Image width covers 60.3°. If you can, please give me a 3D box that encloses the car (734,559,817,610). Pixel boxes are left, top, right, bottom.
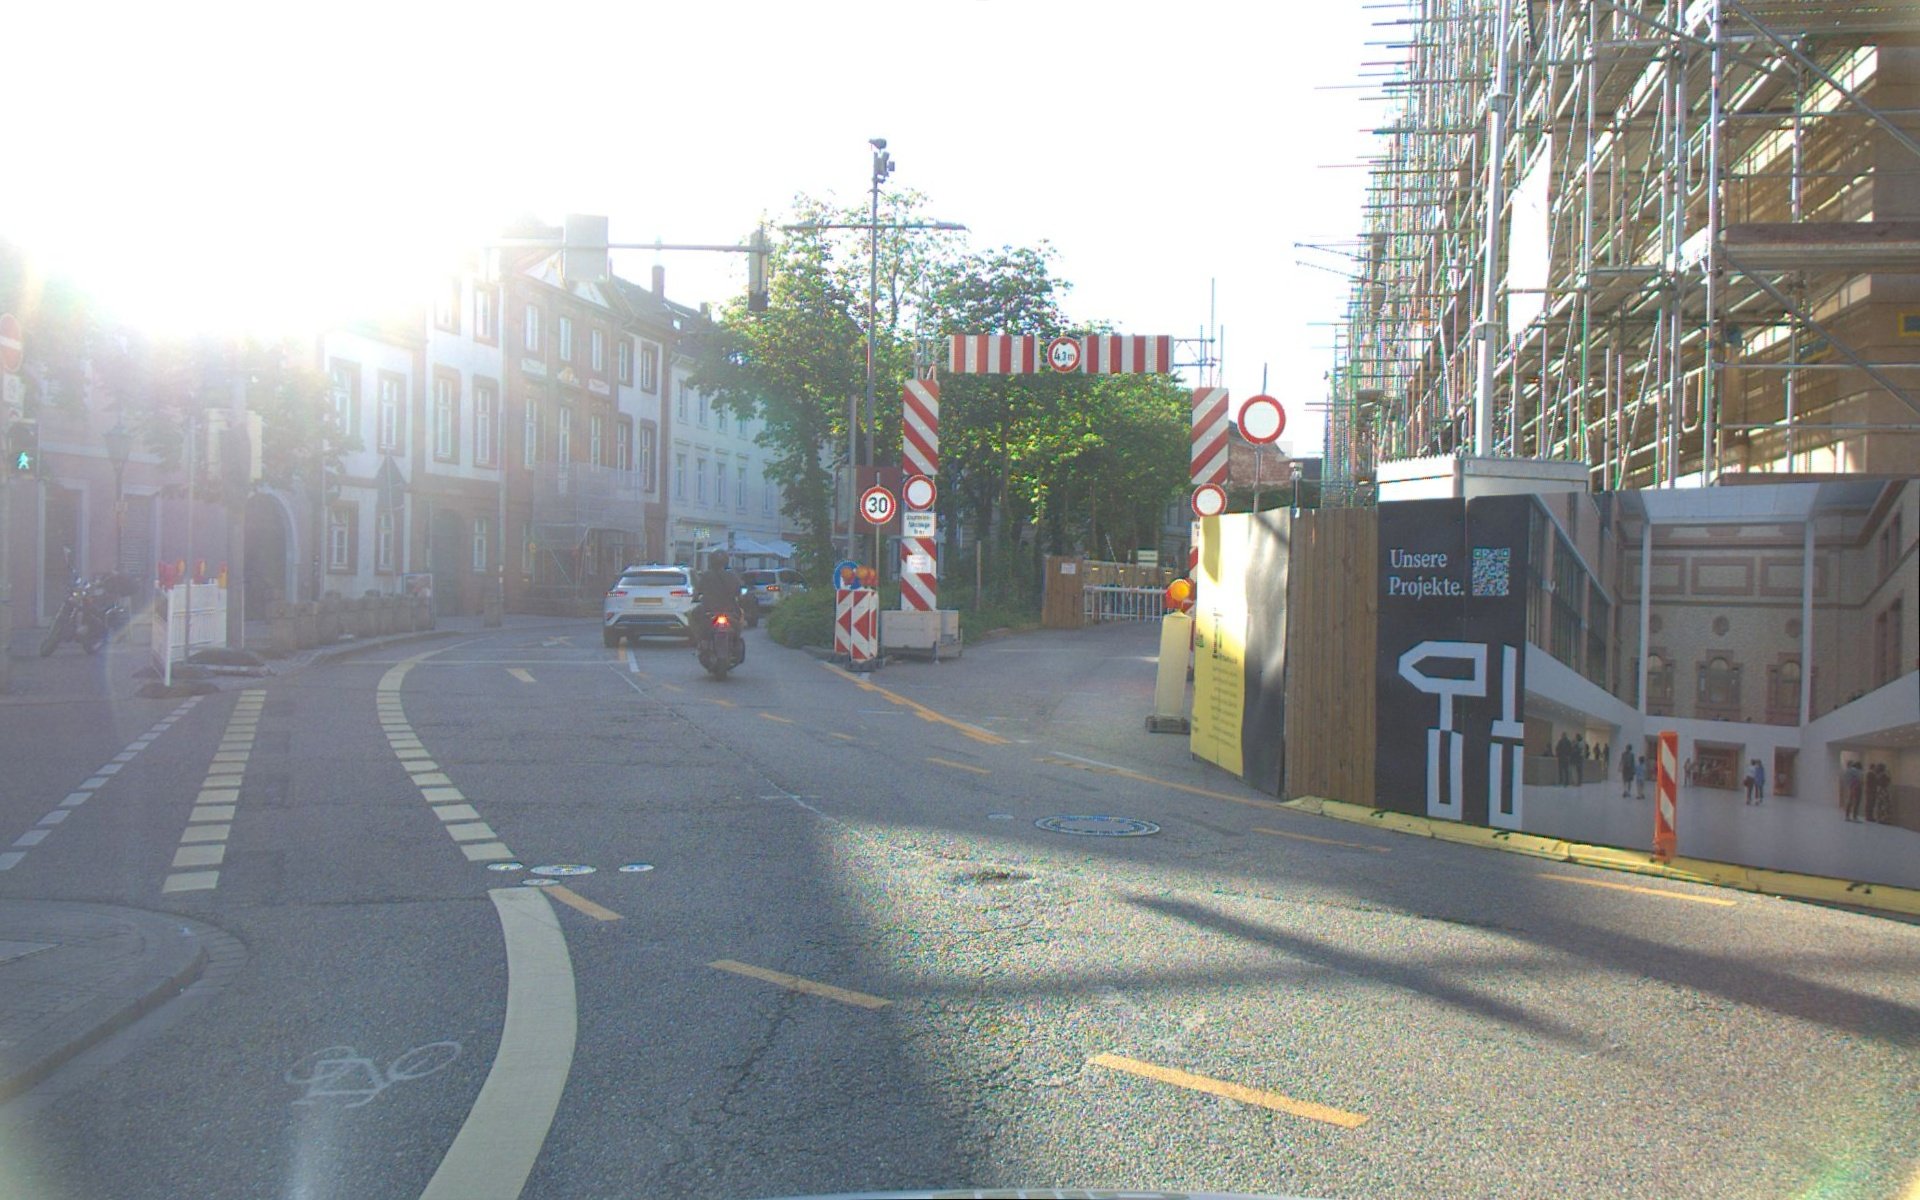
[{"bbox_3d":[-6.633,-0.567,59.888,1.801,1.743,4.061,2,1,11],"label":"car"}]

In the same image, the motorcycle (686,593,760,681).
[{"bbox_3d":[-3.187,0.472,22.113,0.783,1.084,1.719,2,1,-14],"label":"motorcycle"}]

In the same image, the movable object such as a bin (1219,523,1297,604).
[{"bbox_3d":[17.782,-2.125,98.152,3.238,4.618,7.906,0,0,20],"label":"movable object such as a bin"}]

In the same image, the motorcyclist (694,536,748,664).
[{"bbox_3d":[-3.211,-0.003,22.173,0.645,1.679,0.649,2,1,-11],"label":"motorcyclist"}]

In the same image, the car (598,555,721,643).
[{"bbox_3d":[-5.668,-0.052,31.622,1.814,1.506,4.055,2,1,-4],"label":"car"}]

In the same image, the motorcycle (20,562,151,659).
[{"bbox_3d":[-12.651,0.121,24.020,0.796,1.340,2.335,0,1,-4],"label":"motorcycle"}]

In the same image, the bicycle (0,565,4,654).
[{"bbox_3d":[-14.149,0.152,22.420,1.984,1.227,0.674,-1,0,-38],"label":"bicycle"}]

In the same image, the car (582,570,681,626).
[{"bbox_3d":[-9.308,-0.082,47.121,1.802,1.489,4.059,2,1,3],"label":"car"}]
